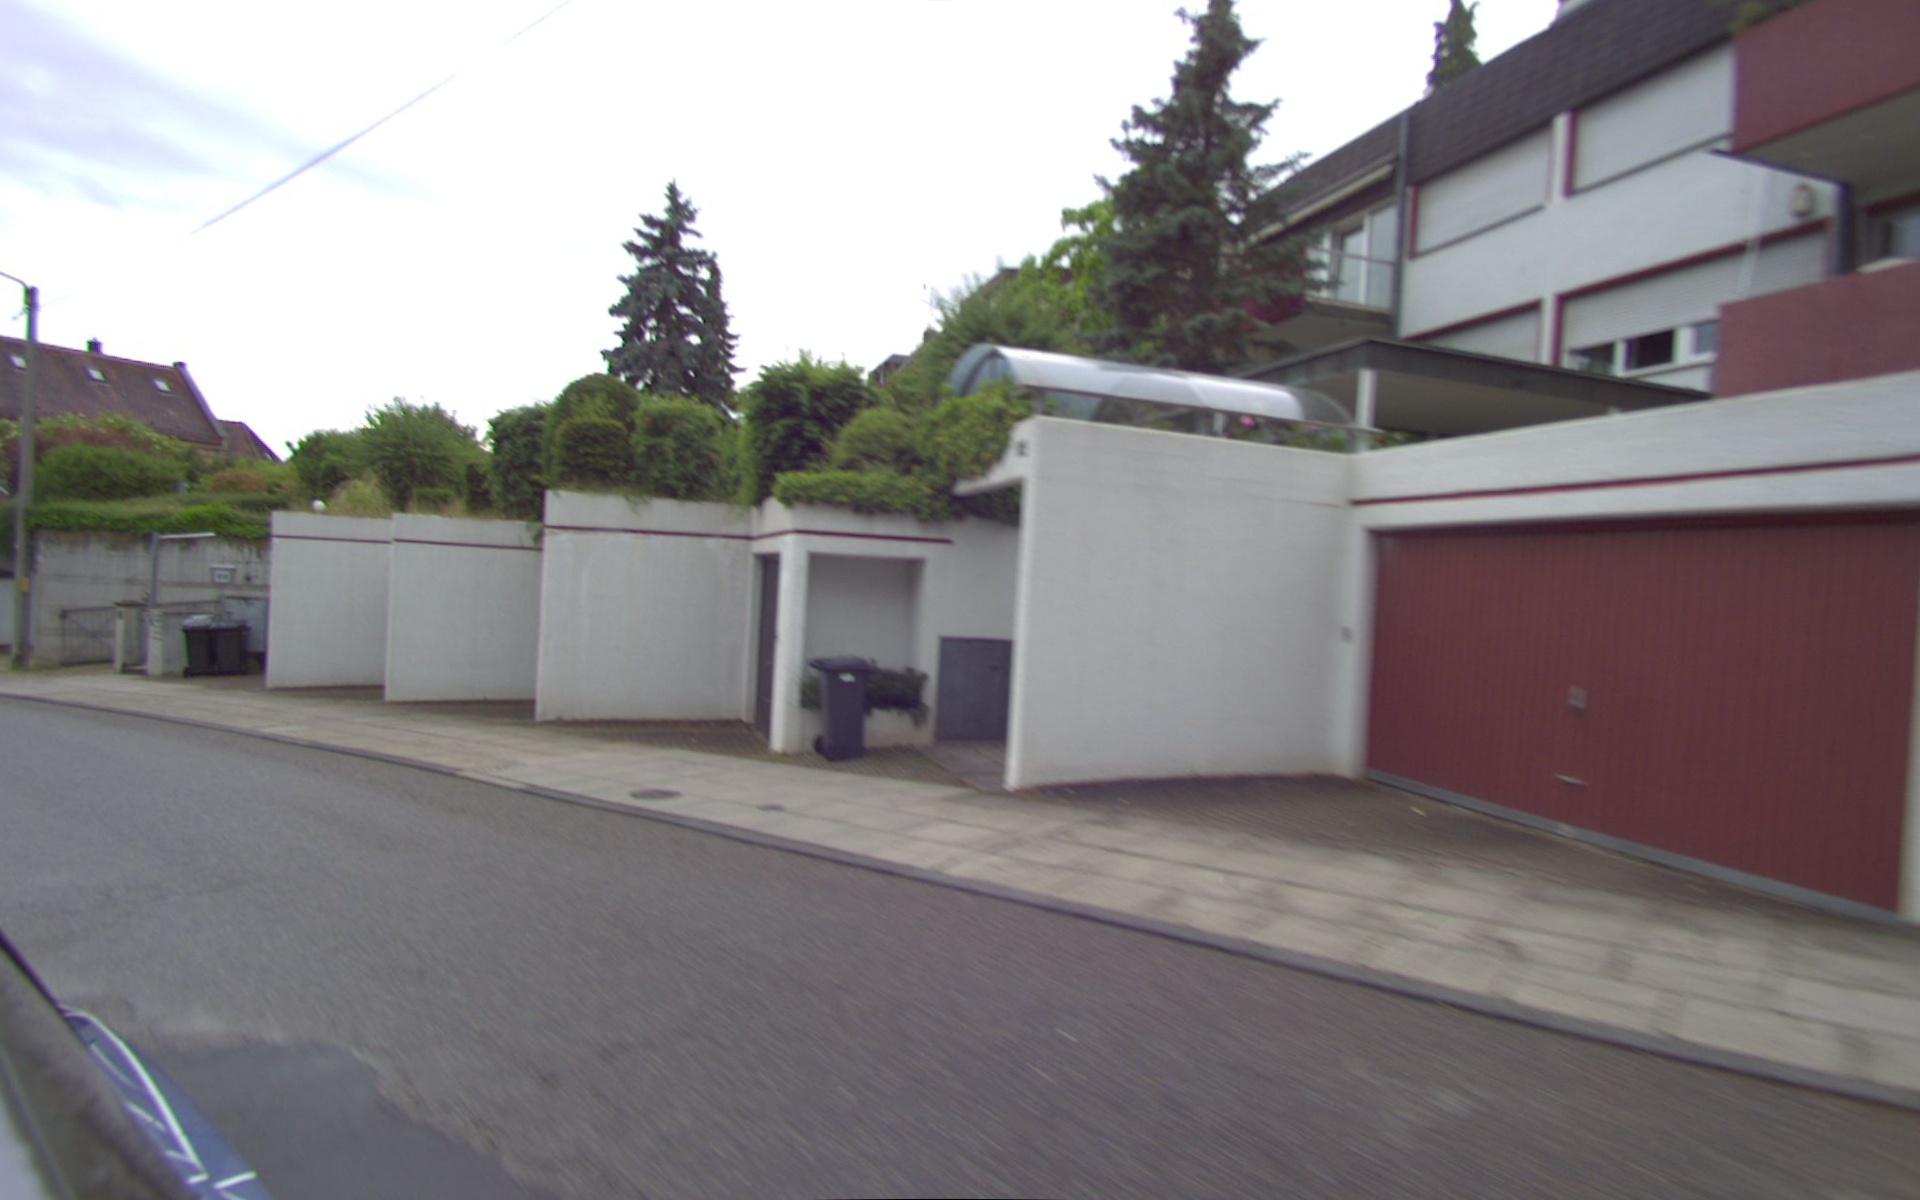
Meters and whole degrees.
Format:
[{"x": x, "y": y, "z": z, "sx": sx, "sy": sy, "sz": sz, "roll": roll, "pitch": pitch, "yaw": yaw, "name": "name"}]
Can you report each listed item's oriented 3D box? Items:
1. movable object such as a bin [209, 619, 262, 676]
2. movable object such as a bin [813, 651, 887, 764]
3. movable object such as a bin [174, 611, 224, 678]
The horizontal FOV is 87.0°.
[{"x": -13.300, "y": 0.858, "z": 18.594, "sx": 0.599, "sy": 0.999, "sz": 0.603, "roll": -1, "pitch": 1, "yaw": -16, "name": "movable object such as a bin"}, {"x": -1.031, "y": 0.980, "z": 9.408, "sx": 0.535, "sy": 0.970, "sz": 0.648, "roll": 0, "pitch": -1, "yaw": -20, "name": "movable object such as a bin"}, {"x": -13.853, "y": 0.800, "z": 18.434, "sx": 0.520, "sy": 1.155, "sz": 0.603, "roll": -1, "pitch": 1, "yaw": -16, "name": "movable object such as a bin"}]
